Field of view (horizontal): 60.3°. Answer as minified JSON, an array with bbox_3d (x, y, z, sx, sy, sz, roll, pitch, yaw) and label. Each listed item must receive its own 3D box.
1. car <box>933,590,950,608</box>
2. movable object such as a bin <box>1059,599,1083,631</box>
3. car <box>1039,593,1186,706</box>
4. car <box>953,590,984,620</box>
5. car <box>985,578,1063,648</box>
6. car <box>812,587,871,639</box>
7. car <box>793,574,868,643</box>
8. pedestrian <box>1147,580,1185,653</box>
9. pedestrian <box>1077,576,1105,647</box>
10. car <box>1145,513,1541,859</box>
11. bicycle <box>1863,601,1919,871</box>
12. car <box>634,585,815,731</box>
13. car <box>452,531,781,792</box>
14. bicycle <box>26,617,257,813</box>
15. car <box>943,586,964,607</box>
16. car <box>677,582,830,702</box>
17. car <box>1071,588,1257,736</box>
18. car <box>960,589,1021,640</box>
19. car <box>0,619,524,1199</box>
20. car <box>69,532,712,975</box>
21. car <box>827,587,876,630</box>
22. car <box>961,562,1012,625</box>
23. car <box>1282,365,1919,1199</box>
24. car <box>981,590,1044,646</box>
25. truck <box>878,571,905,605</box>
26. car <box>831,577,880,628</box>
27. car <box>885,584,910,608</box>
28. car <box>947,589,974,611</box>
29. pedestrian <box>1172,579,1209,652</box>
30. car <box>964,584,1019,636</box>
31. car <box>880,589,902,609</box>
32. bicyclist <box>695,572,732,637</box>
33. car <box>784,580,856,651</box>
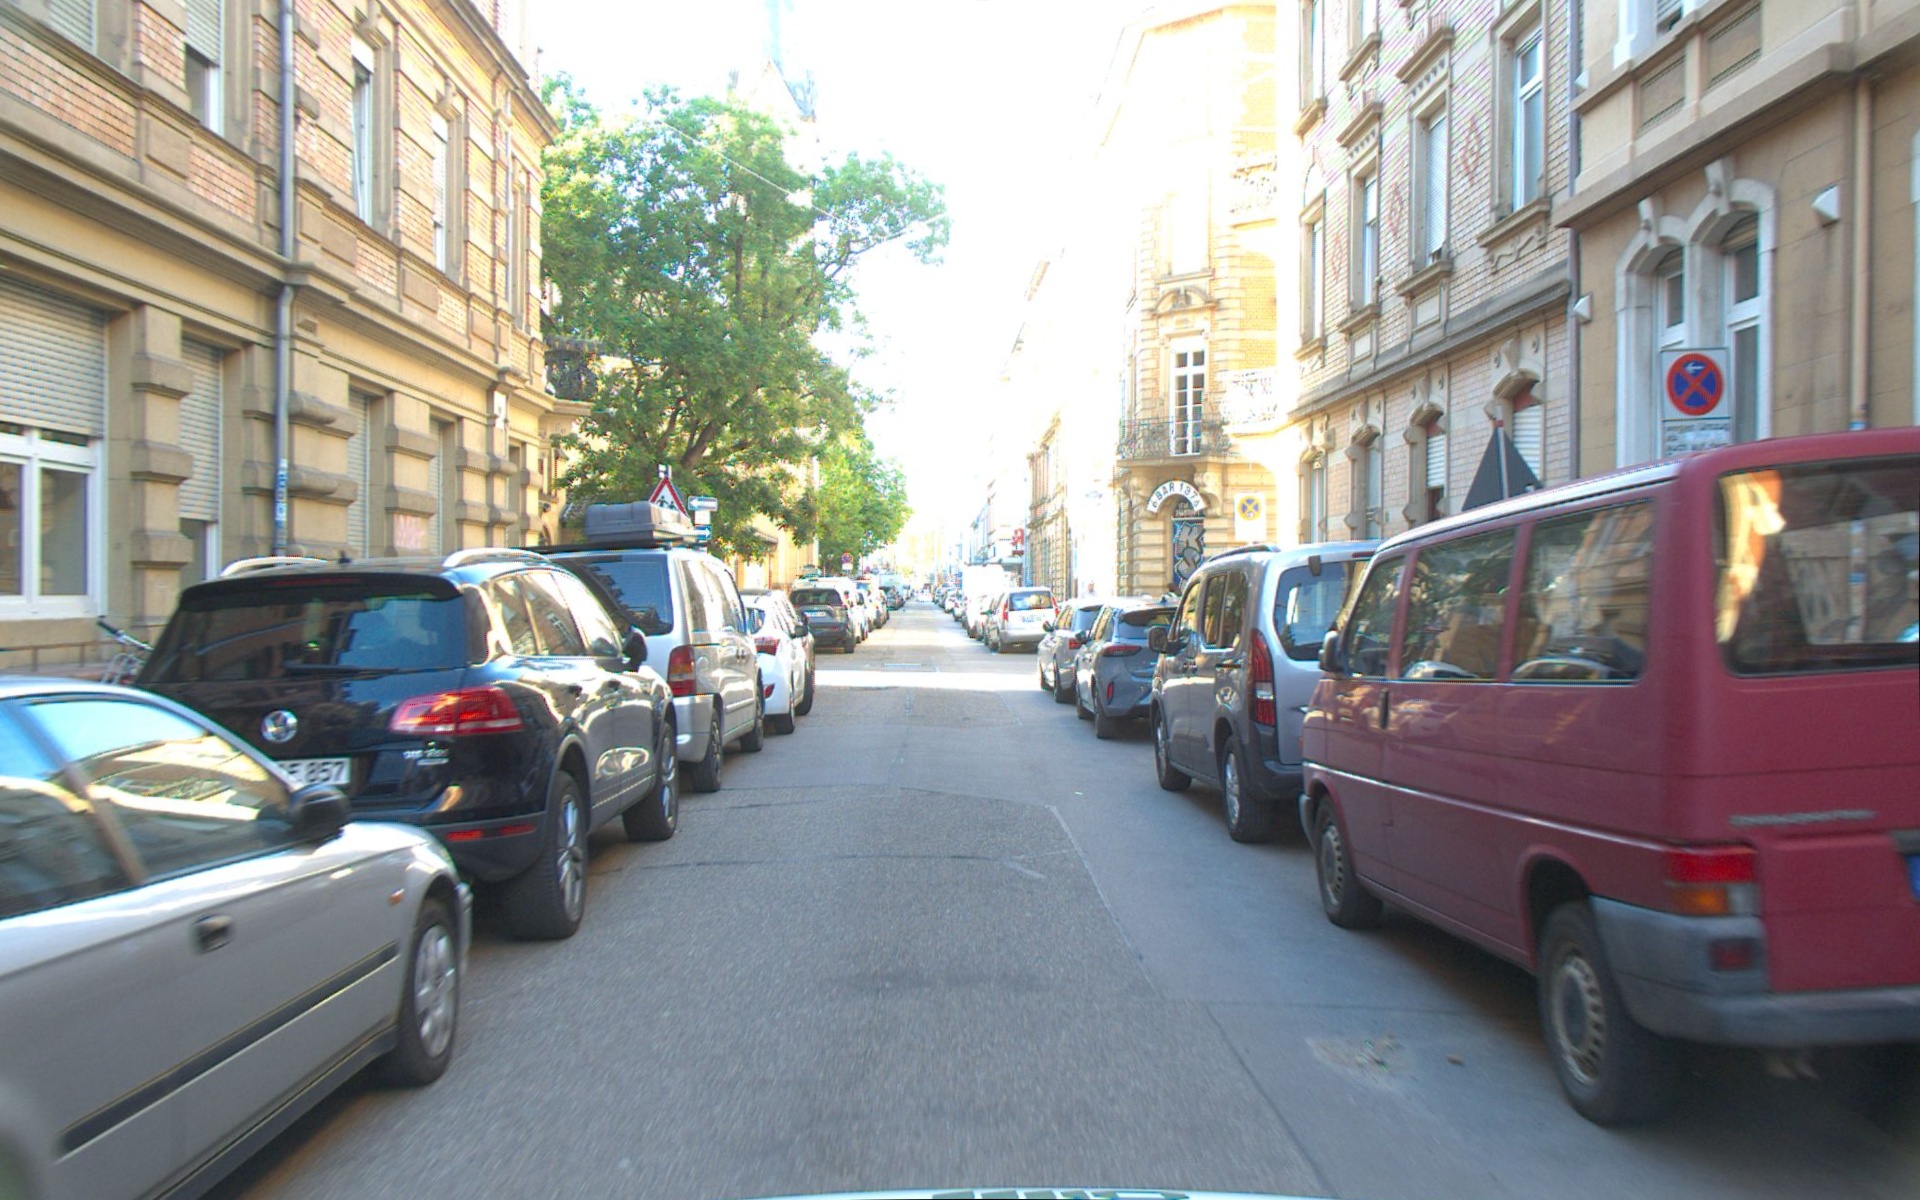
[{"bbox_3d":[-2.165,-0.164,193.782,1.953,2.049,3.999,0,0,-1],"label":"car"},{"bbox_3d":[3.857,0.516,57.433,0.543,1.071,0.596,-3,1,-35],"label":"movable object such as a bin"},{"bbox_3d":[2.173,0.665,24.650,1.671,1.484,4.510,1,0,-1],"label":"car"},{"bbox_3d":[0.456,0.227,88.889,1.571,1.531,4.000,1,0,0],"label":"car"},{"bbox_3d":[1.637,0.304,43.643,1.669,1.744,3.935,-1,0,-3],"label":"car"},{"bbox_3d":[-3.735,0.385,52.555,1.653,1.502,3.859,-2,1,-2],"label":"car"},{"bbox_3d":[-3.657,0.202,47.373,1.808,1.895,4.465,0,1,0],"label":"car"},{"bbox_3d":[4.699,0.358,37.732,0.581,1.632,0.724,-1,1,-16],"label":"pedestrian"},{"bbox_3d":[3.340,0.288,42.230,0.563,1.763,0.663,-1,1,-5],"label":"pedestrian"},{"bbox_3d":[2.497,0.494,11.869,1.734,1.995,4.263,2,0,-1],"label":"car"},{"bbox_3d":[5.105,0.670,7.783,0.712,1.326,1.692,-3,0,-1],"label":"bicycle"},{"bbox_3d":[-2.564,0.582,18.798,1.640,1.445,3.872,1,0,-3],"label":"car"},{"bbox_3d":[-2.697,0.429,14.098,1.854,1.815,4.607,1,0,-1],"label":"car"},{"bbox_3d":[-5.460,0.723,11.161,0.653,1.145,1.785,3,1,-1],"label":"bicycle"},{"bbox_3d":[-0.579,-0.296,137.957,1.733,1.771,3.999,0,1,-1],"label":"car"},{"bbox_3d":[-2.837,0.534,23.471,1.687,1.507,4.089,1,0,-1],"label":"car"},{"bbox_3d":[2.263,0.636,19.252,1.632,1.505,3.887,0,1,-1],"label":"car"},{"bbox_3d":[0.969,0.452,54.103,1.541,1.551,3.904,2,0,-5],"label":"car"},{"bbox_3d":[-2.391,0.786,3.904,1.664,1.337,3.999,3,0,-1],"label":"car"},{"bbox_3d":[-2.517,0.576,8.623,1.751,1.652,4.607,1,0,-1],"label":"car"},{"bbox_3d":[-4.131,0.304,63.418,1.707,1.614,3.868,0,0,-1],"label":"car"},{"bbox_3d":[1.112,-0.291,73.103,2.026,2.656,5.886,1,1,-1],"label":"car"},{"bbox_3d":[2.674,0.458,6.433,1.795,2.049,4.741,2,0,-1],"label":"car"},{"bbox_3d":[1.508,0.491,48.500,1.504,1.539,3.679,-1,0,-3],"label":"car"},{"bbox_3d":[-6.902,-1.210,167.575,2.480,3.339,6.993,0,0,-1],"label":"truck"},{"bbox_3d":[-4.329,0.085,69.053,1.826,1.991,4.608,-2,0,-2],"label":"car"},{"bbox_3d":[-4.880,-0.348,129.476,1.837,1.828,3.999,0,0,-1],"label":"car"},{"bbox_3d":[0.025,0.000,117.520,1.859,1.514,3.868,0,0,-1],"label":"car"},{"bbox_3d":[5.279,0.351,37.950,0.565,1.650,0.731,-1,1,-17],"label":"pedestrian"},{"bbox_3d":[1.081,0.336,58.382,1.771,1.719,4.213,2,0,-1],"label":"car"},{"bbox_3d":[-6.332,-0.092,151.002,1.839,1.828,3.996,0,0,-5],"label":"car"},{"bbox_3d":[-6.757,0.116,45.308,0.788,1.753,0.692,2,1,7],"label":"bicyclist"},{"bbox_3d":[-3.471,0.354,41.692,1.706,1.675,4.286,0,0,-4],"label":"car"}]
